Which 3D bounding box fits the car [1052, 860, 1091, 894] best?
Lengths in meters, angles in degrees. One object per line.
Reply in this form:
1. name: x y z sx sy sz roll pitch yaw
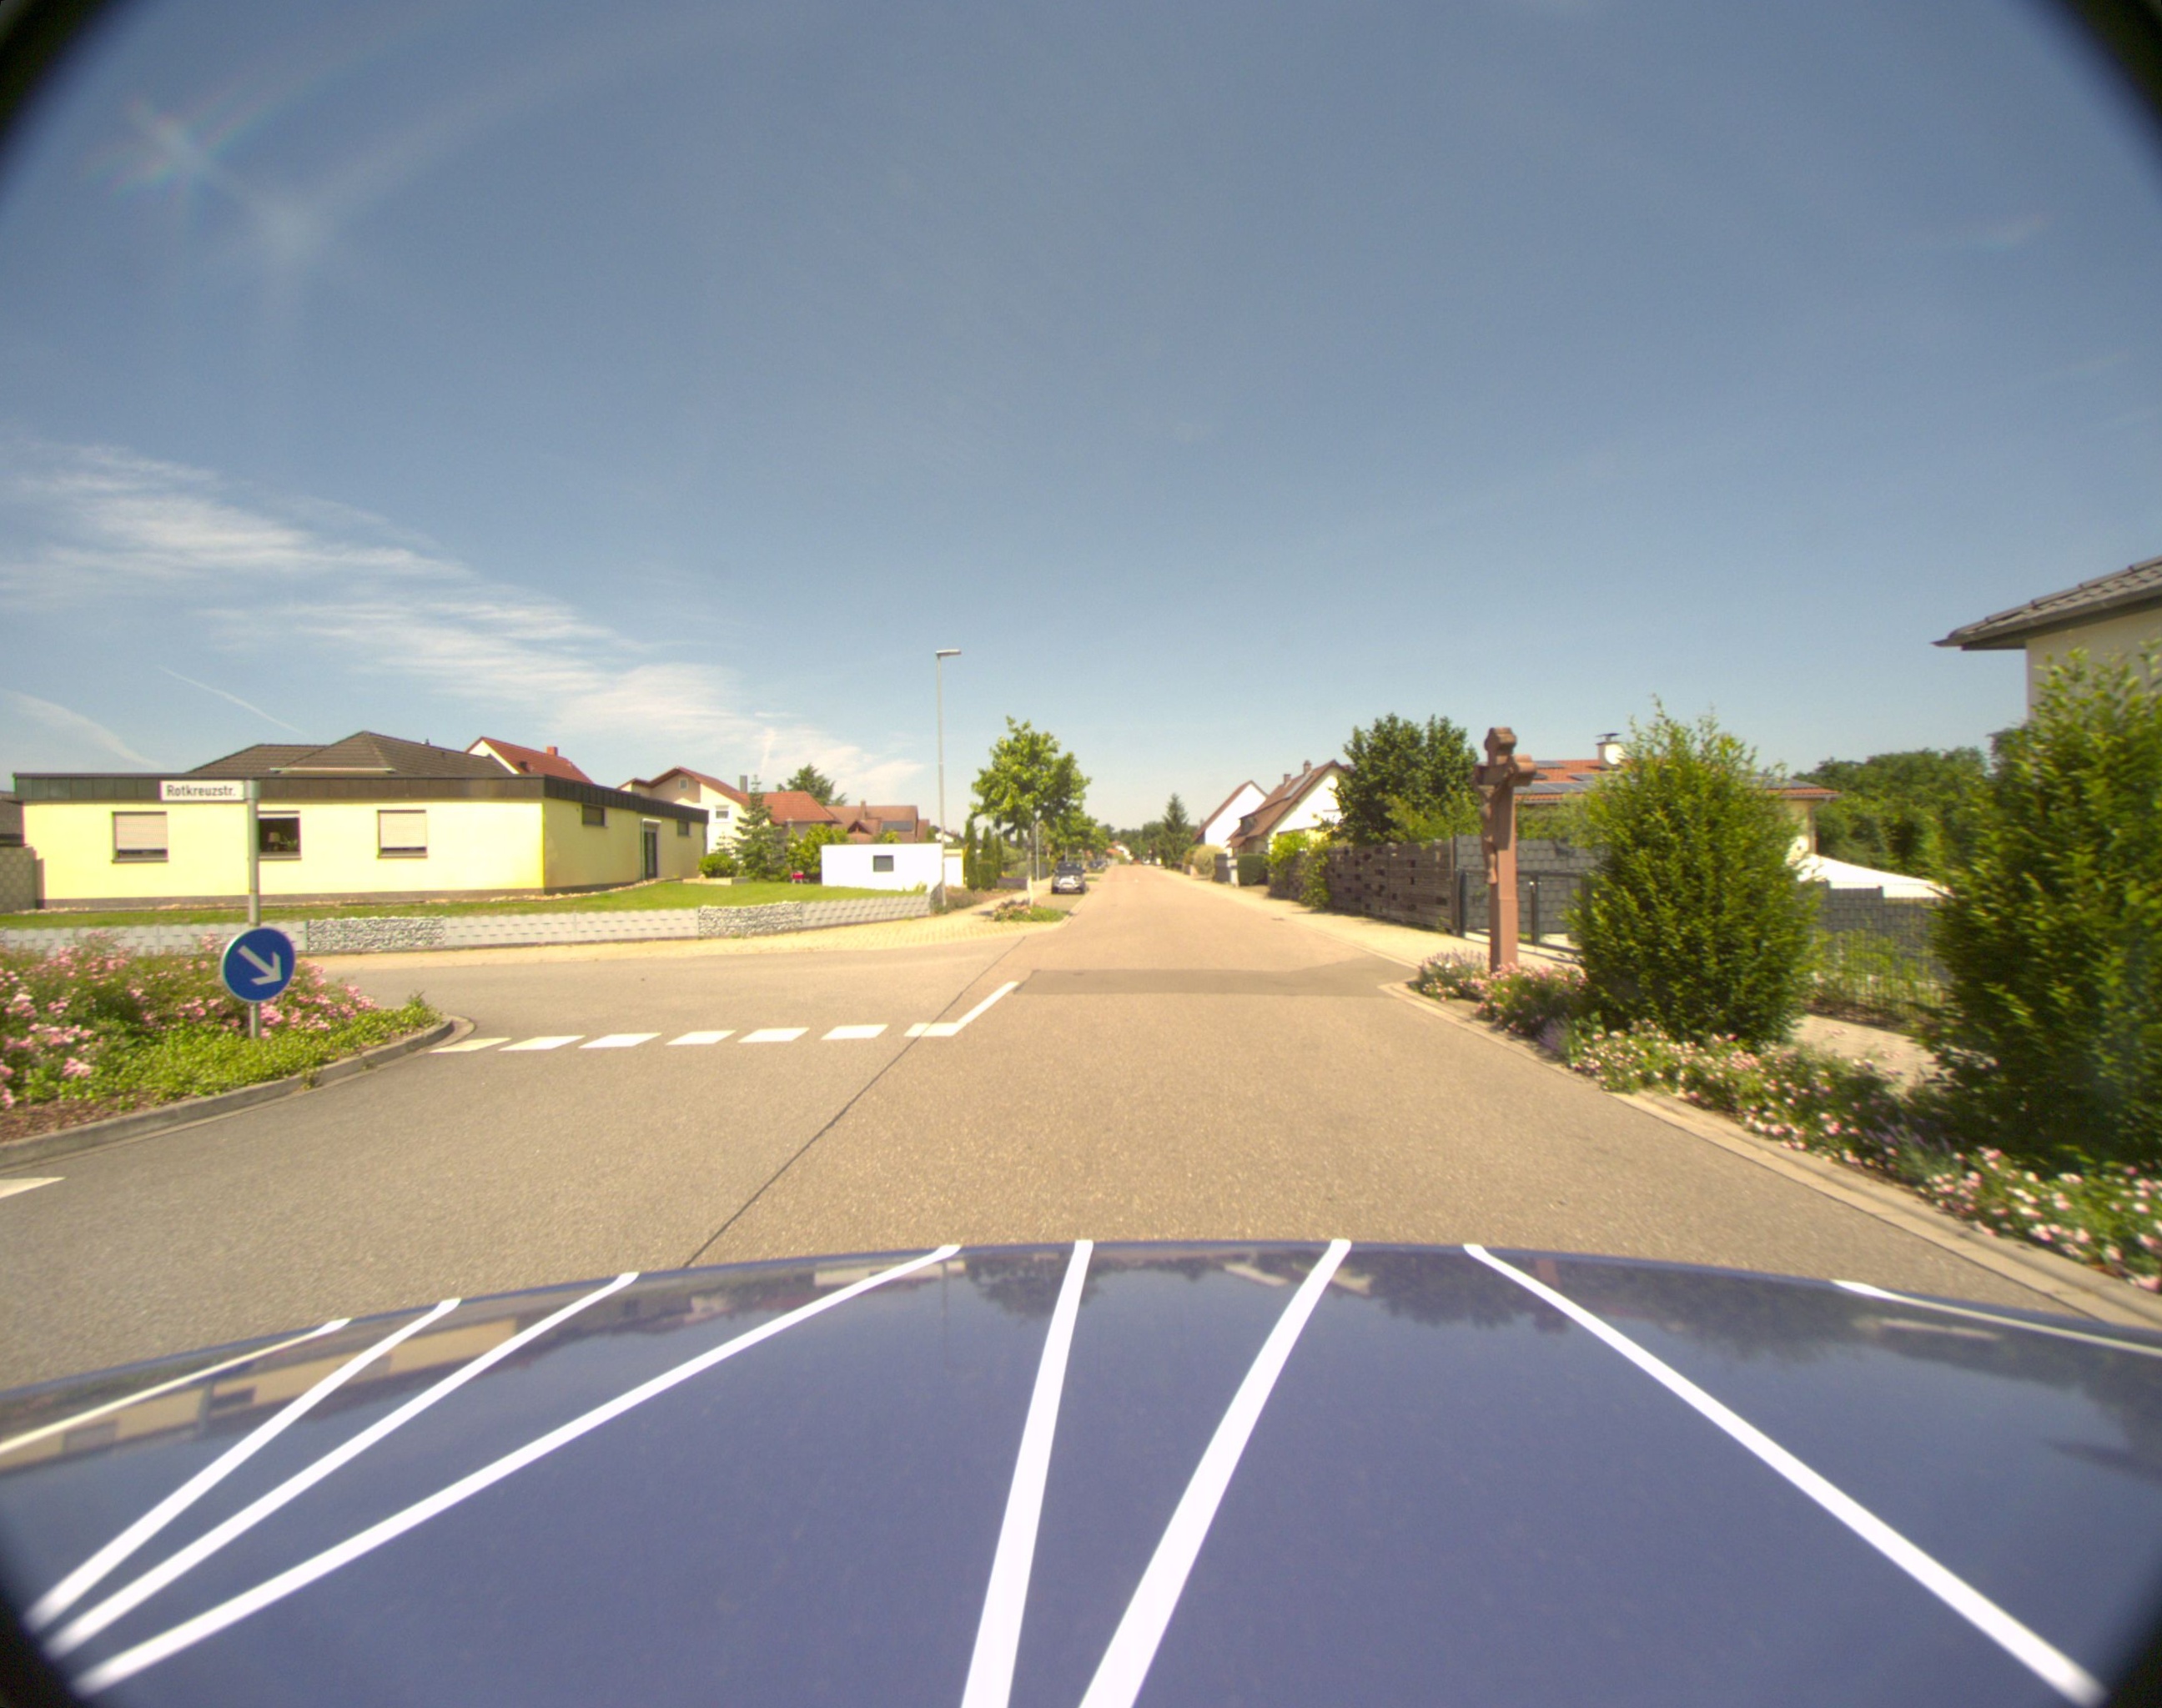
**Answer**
1. car: -0.445 1.141 39.104 1.597 1.630 3.804 0 0 5
